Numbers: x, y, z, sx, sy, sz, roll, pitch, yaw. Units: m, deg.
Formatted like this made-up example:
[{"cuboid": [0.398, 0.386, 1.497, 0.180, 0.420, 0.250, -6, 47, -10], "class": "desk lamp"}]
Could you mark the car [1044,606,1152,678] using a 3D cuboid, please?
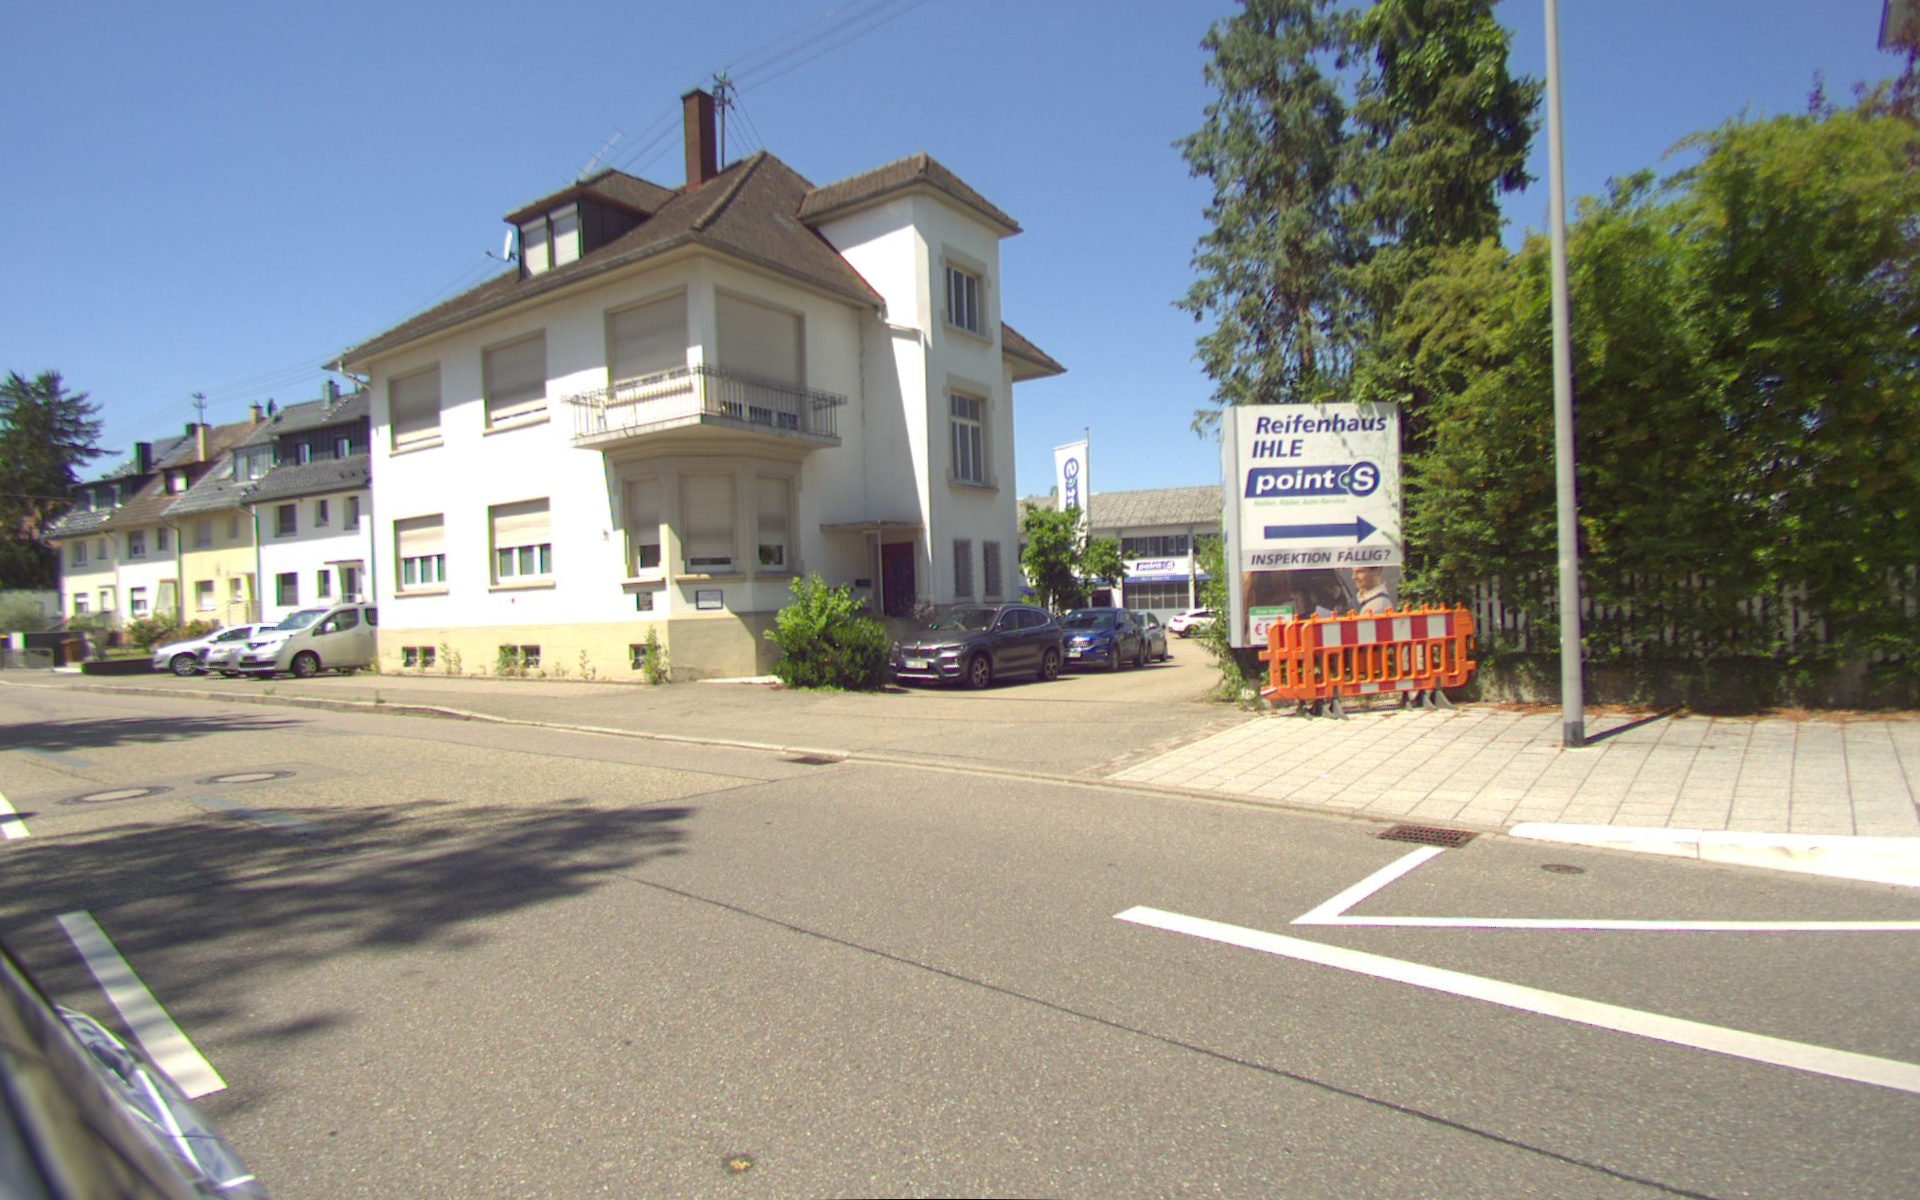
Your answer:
[{"cuboid": [3.447, 0.966, 24.712, 1.555, 1.551, 3.902, -3, -1, 24], "class": "car"}]

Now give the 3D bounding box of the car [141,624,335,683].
[{"cuboid": [-20.455, 1.503, 28.899, 4.201, 1.507, 1.882, 0, -2, -24], "class": "car"}]

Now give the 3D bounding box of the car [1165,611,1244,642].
[{"cuboid": [13.639, 1.469, 56.564, 3.875, 1.551, 1.566, -2, -1, -4], "class": "car"}]

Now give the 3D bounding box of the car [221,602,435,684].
[{"cuboid": [-15.932, 1.070, 25.759, 1.841, 1.891, 4.324, -2, -2, 27], "class": "car"}]

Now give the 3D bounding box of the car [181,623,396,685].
[{"cuboid": [-17.907, 1.398, 27.181, 1.972, 1.507, 4.431, -3, -3, 36], "class": "car"}]

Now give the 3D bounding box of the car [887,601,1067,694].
[{"cuboid": [0.432, 0.877, 19.850, 1.561, 1.551, 3.887, -5, -2, 35], "class": "car"}]
